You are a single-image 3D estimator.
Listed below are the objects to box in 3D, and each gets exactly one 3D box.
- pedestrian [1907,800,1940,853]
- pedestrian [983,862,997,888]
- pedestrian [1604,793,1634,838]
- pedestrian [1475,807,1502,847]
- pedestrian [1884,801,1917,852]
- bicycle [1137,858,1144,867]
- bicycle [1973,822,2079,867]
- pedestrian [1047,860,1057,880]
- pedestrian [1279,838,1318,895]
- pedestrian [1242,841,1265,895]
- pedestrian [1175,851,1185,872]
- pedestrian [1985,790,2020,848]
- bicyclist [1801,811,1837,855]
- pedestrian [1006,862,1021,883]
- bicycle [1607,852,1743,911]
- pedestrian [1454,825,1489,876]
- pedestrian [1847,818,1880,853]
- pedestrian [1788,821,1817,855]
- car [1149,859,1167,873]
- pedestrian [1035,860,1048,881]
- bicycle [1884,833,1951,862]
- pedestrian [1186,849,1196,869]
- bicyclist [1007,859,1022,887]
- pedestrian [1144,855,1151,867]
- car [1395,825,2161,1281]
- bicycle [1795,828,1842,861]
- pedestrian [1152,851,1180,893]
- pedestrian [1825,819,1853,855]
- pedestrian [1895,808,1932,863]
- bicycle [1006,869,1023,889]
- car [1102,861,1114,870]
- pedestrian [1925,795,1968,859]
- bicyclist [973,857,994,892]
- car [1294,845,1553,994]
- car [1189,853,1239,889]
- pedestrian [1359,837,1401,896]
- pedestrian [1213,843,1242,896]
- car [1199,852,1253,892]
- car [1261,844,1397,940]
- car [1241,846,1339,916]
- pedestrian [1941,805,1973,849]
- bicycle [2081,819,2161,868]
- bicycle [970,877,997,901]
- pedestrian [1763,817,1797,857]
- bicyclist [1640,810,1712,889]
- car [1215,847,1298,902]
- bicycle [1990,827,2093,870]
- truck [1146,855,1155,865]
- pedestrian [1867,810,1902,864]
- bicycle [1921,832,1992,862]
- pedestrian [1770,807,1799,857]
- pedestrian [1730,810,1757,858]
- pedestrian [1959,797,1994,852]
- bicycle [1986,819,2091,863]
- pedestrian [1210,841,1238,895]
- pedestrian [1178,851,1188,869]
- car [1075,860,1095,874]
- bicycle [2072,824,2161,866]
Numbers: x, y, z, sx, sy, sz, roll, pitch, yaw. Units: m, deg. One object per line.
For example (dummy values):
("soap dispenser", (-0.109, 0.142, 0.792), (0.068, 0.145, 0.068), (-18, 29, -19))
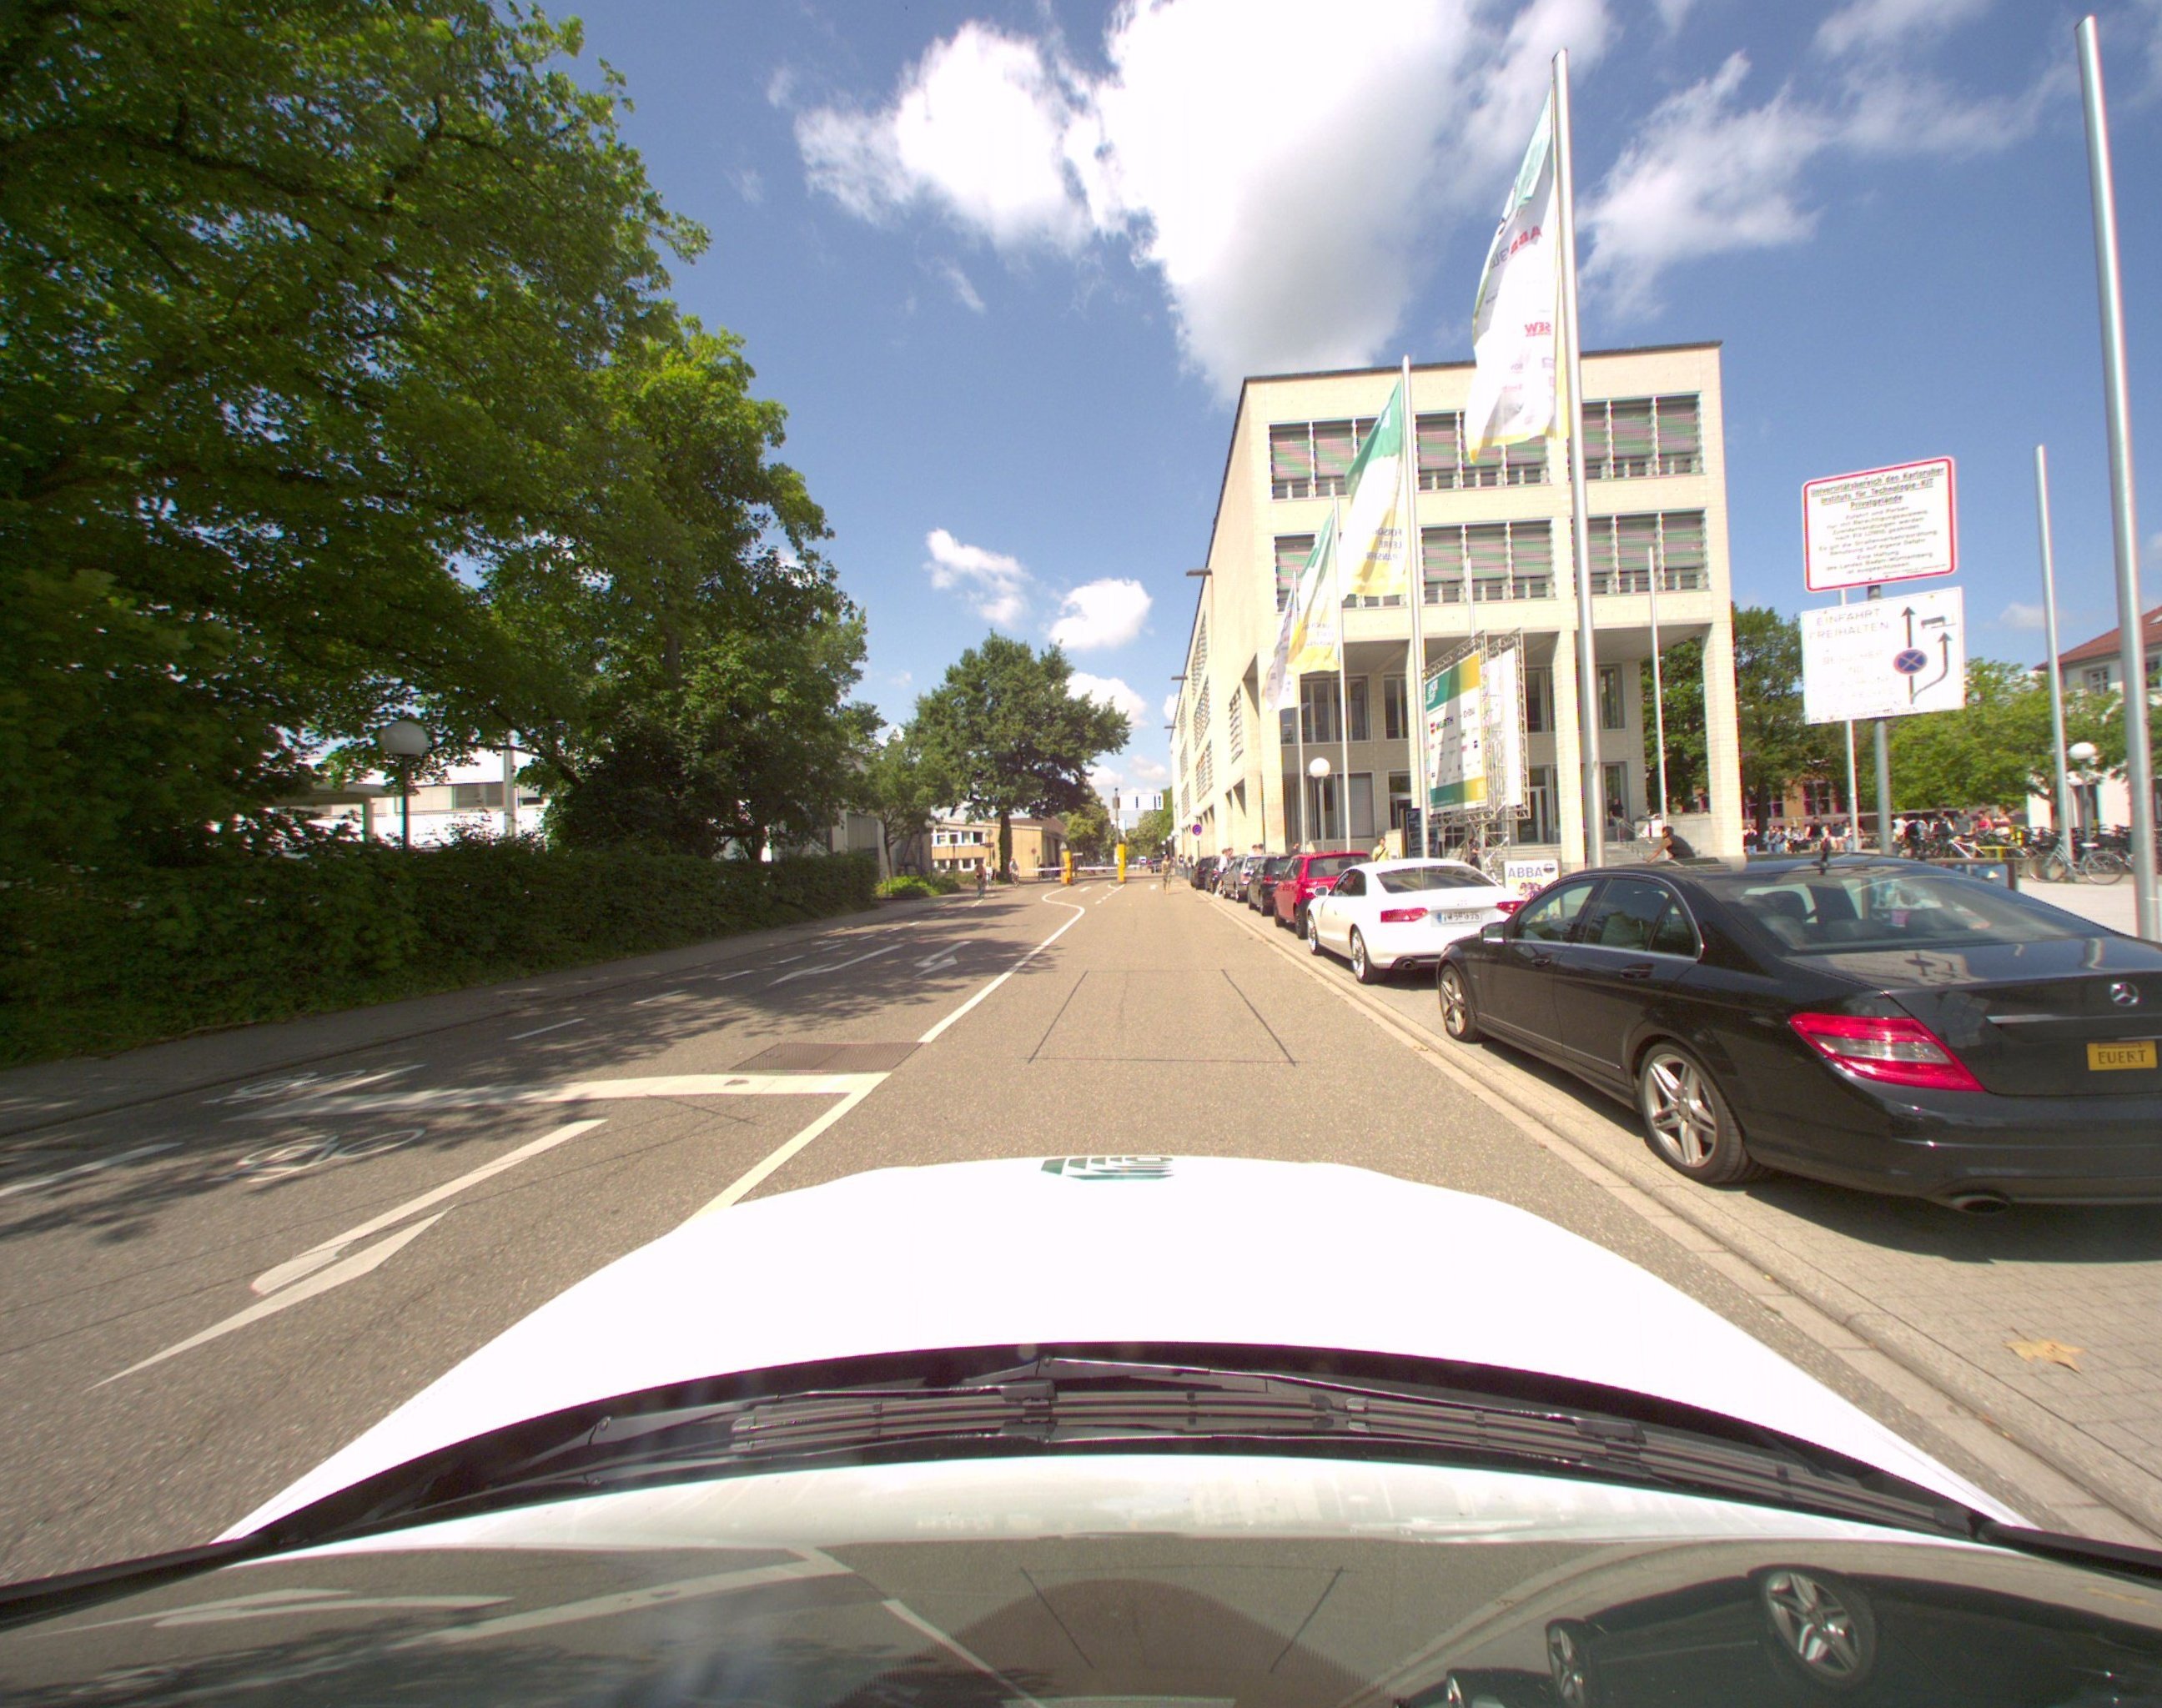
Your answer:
("pedestrian", (36.576, -1.183, 35.350), (0.635, 2.230, 0.710), (-1, -3, -26))
("pedestrian", (-5.831, 1.332, 52.418), (0.710, 1.627, 0.884), (-2, -1, 3))
("pedestrian", (22.531, -1.613, 34.112), (0.714, 1.798, 0.718), (-3, -3, 7))
("pedestrian", (17.131, -1.122, 34.241), (0.714, 1.585, 0.718), (-3, -3, 7))
("pedestrian", (36.518, -1.220, 36.297), (0.635, 2.230, 0.710), (-1, -3, -26))
("bicycle", (9.140, 1.338, 125.062), (0.983, 1.316, 2.966), (-3, -2, 4))
("bicycle", (26.164, -0.243, 22.581), (0.605, 1.099, 1.752), (-1, -3, -27))
("pedestrian", (-2.639, 1.466, 73.932), (0.702, 1.809, 1.002), (-3, 0, 3))
("pedestrian", (7.656, 0.437, 28.696), (1.090, 1.920, 1.022), (-3, -1, 5))
("pedestrian", (6.266, 0.503, 29.635), (0.719, 1.925, 0.753), (-3, -1, 10))
("pedestrian", (8.821, 0.675, 72.616), (0.692, 1.780, 1.086), (-4, 0, 3))
("pedestrian", (36.895, -1.392, 32.617), (0.718, 2.230, 0.628), (-1, -3, -26))
("bicyclist", (27.338, -0.791, 30.169), (0.881, 1.569, 0.677), (-3, 0, -25))
("pedestrian", (-6.070, 1.663, 73.351), (0.876, 1.925, 1.012), (-3, -2, 25))
("bicycle", (12.227, 0.526, 16.858), (0.903, 1.078, 2.142), (-4, 1, -17))
("pedestrian", (13.032, -0.107, 27.201), (0.694, 1.639, 0.731), (-2, -1, -34))
("pedestrian", (34.152, -0.812, 35.555), (0.629, 1.437, 0.717), (-3, -3, 3))
("pedestrian", (32.180, -0.694, 36.326), (0.708, 1.431, 0.637), (-4, -3, 22))
("car", (8.699, 1.336, 92.295), (1.984, 1.546, 4.217), (-3, -1, 5))
("pedestrian", (-3.581, 1.516, 74.231), (1.052, 1.816, 0.807), (-3, 0, 3))
("bicycle", (26.084, -0.200, 25.401), (1.761, 0.792, 0.519), (-3, -1, -9))
("pedestrian", (9.789, 0.429, 72.497), (0.764, 1.780, 0.911), (-4, 0, 2))
("bicyclist", (-4.212, 1.214, 51.645), (0.690, 1.737, 0.919), (-3, -1, 3))
("pedestrian", (8.797, 0.932, 107.576), (0.888, 1.632, 0.890), (-2, -1, 9))
("car", (3.657, 0.661, 5.120), (1.710, 1.400, 4.954), (-5, -1, 4))
("bicycle", (27.276, -0.366, 30.123), (1.695, 1.137, 0.677), (-3, 1, -26))
("pedestrian", (3.550, 0.744, 34.178), (0.626, 1.717, 1.031), (-3, -1, -28))
("pedestrian", (33.167, -0.725, 35.660), (0.626, 1.498, 0.720), (-4, -3, 26))
("pedestrian", (27.227, -0.600, 26.652), (0.626, 1.747, 0.721), (-5, -3, 38))
("bicycle", (-4.216, 1.587, 51.753), (0.690, 1.171, 2.211), (-3, -1, 3))
("car", (5.003, 2.061, 149.896), (1.984, 1.546, 4.217), (-2, 0, 5))
("pedestrian", (31.091, -0.960, 29.269), (0.843, 2.230, 0.638), (-5, -3, 40))
("bicyclist", (-4.419, 0.930, 36.870), (0.690, 1.548, 1.019), (-3, -1, 3))
("car", (4.112, 0.698, 10.642), (1.710, 1.400, 4.444), (-5, -1, 4))
("car", (6.104, 0.751, 37.783), (1.858, 1.464, 4.525), (-3, -1, 4))
("pedestrian", (9.178, 0.372, 25.051), (0.914, 1.740, 1.003), (-3, -1, 4))
("pedestrian", (5.443, 0.578, 30.233), (0.774, 1.925, 0.739), (-3, -1, 26))
("car", (5.845, 0.706, 33.249), (1.607, 1.496, 4.009), (-3, -1, 3))
("car", (4.645, 0.641, 15.814), (1.606, 1.496, 4.153), (-5, 0, 5))
("car", (5.257, 0.640, 20.957), (1.711, 1.529, 4.005), (-3, -1, 5))
("pedestrian", (36.377, -1.114, 33.829), (0.718, 1.777, 0.628), (-1, -3, -26))
("bicycle", (25.410, -0.268, 19.463), (0.605, 1.099, 1.752), (-1, -3, -27))
("bicycle", (-4.397, 1.549, 36.743), (0.789, 0.989, 2.211), (-3, -1, 3))
("pedestrian", (31.054, -0.742, 36.185), (0.861, 1.702, 0.637), (-4, -3, 22))
("bicyclist", (12.235, -0.083, 16.769), (0.662, 1.564, 0.928), (-3, -1, -17))
("car", (5.665, 0.627, 26.805), (1.713, 1.529, 4.567), (-4, -1, 1))
("bicycle", (27.442, -0.136, 23.293), (0.605, 1.099, 1.752), (-1, -3, -27))
("truck", (16.756, 1.447, 196.877), (1.985, 2.014, 4.002), (-3, -2, 3))
("pedestrian", (26.634, -0.557, 27.001), (0.626, 1.747, 0.721), (-5, -3, 38))
("bicycle", (26.083, -0.210, 24.267), (1.761, 0.792, 0.519), (-3, -1, -9))
("pedestrian", (32.168, -0.985, 37.230), (0.708, 2.230, 0.637), (-4, -3, 22))
("pedestrian", (31.222, -0.928, 38.371), (0.708, 2.230, 0.637), (-4, -3, 22))
("pedestrian", (36.646, -1.202, 33.330), (0.718, 2.230, 0.628), (-1, -3, -26))
("bicycle", (26.831, -0.341, 22.858), (0.605, 1.099, 1.752), (-1, -3, -27))
("pedestrian", (5.185, 0.509, 29.544), (0.776, 1.925, 0.597), (-3, -1, 26))
("pedestrian", (9.767, 0.580, 77.835), (0.738, 1.632, 0.888), (-4, 0, 2))
("car", (0.515, 1.549, 99.939), (1.984, 1.546, 4.217), (-2, 0, 5))
("bicycle", (29.417, -0.247, 22.933), (0.605, 1.099, 1.752), (-1, -3, -27))
